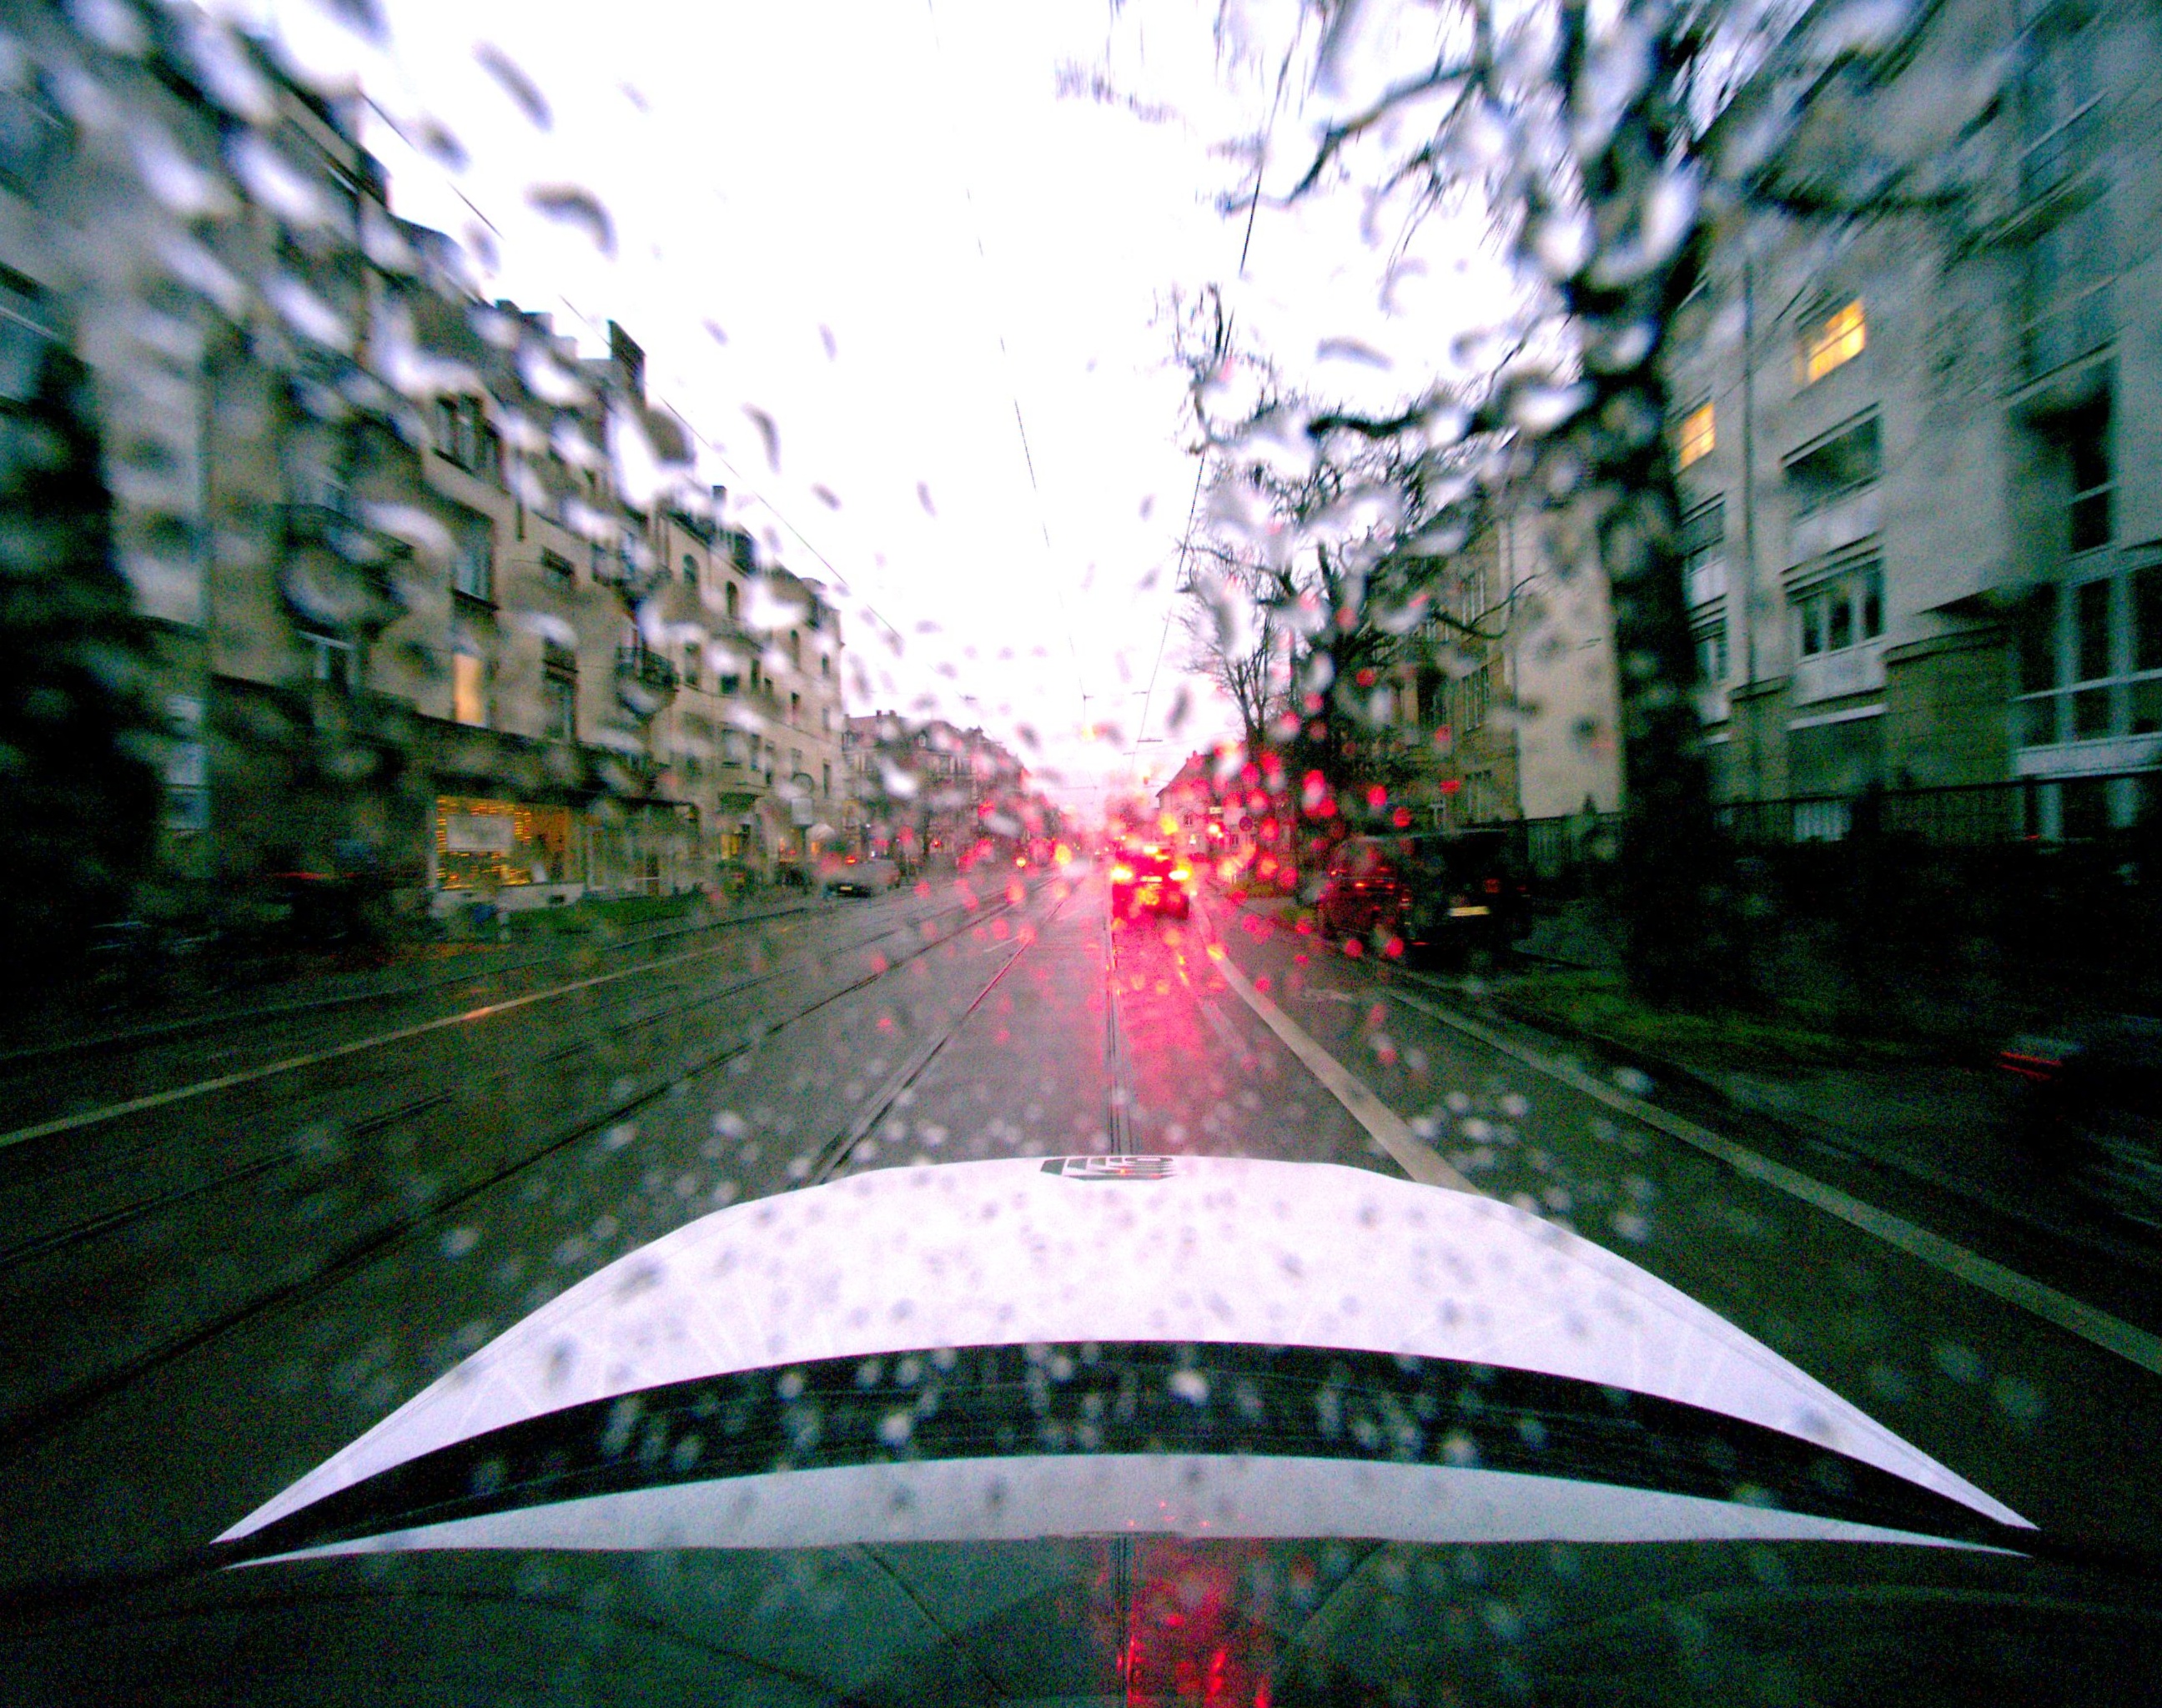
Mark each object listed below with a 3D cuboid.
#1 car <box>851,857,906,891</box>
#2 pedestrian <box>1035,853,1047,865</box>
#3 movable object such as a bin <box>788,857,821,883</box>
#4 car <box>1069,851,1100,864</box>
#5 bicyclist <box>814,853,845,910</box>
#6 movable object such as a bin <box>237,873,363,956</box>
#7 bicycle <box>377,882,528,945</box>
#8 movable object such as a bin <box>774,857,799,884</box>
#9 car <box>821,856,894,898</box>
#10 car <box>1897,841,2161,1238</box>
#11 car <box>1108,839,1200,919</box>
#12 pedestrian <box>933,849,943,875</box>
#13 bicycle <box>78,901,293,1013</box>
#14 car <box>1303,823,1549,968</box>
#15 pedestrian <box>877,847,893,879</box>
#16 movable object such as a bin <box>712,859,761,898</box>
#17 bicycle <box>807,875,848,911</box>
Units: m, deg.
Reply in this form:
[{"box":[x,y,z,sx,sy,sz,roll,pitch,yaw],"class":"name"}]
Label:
[{"box":[-10.562,1.024,42.780,2.033,1.551,4.027,3,0,-3],"class":"car"},{"box":[-4.049,0.476,82.651,1.043,1.200,0.885,0,-1,3],"class":"pedestrian"},{"box":[-14.655,0.836,43.210,1.289,1.367,1.253,-1,0,2],"class":"movable object such as a bin"},{"box":[0.440,0.441,108.158,4.000,1.595,1.705,-1,0,-6],"class":"car"},{"box":[-8.438,0.912,27.358,0.620,1.876,0.992,-1,0,4],"class":"bicyclist"},{"box":[-14.171,1.077,14.823,1.098,1.379,1.169,2,0,3],"class":"movable object such as a bin"},{"box":[-11.942,1.121,15.508,2.339,1.105,0.696,1,0,3],"class":"bicycle"},{"box":[-15.138,0.852,41.908,0.895,1.377,1.007,-1,0,2],"class":"movable object such as a bin"},{"box":[-10.070,1.003,37.047,1.980,1.645,4.629,4,-1,-1],"class":"car"},{"box":[4.935,0.701,1.966,1.751,1.445,4.158,-3,1,0],"class":"car"},{"box":[1.861,0.571,21.118,2.094,1.816,4.666,1,0,4],"class":"car"},{"box":[-11.478,0.622,65.226,0.706,2.013,0.656,-1,0,-18],"class":"pedestrian"},{"box":[-10.509,1.164,9.653,0.620,1.092,1.664,-1,0,4],"class":"bicycle"},{"box":[5.271,0.544,13.347,2.023,1.875,4.966,-2,0,2],"class":"car"},{"box":[-12.468,0.588,51.798,0.748,2.014,0.652,-1,-1,38],"class":"pedestrian"},{"box":[-13.031,0.919,30.874,1.262,1.420,1.251,-1,0,2],"class":"movable object such as a bin"},{"box":[-8.434,1.285,27.191,0.620,1.092,1.950,-1,0,4],"class":"bicycle"}]
